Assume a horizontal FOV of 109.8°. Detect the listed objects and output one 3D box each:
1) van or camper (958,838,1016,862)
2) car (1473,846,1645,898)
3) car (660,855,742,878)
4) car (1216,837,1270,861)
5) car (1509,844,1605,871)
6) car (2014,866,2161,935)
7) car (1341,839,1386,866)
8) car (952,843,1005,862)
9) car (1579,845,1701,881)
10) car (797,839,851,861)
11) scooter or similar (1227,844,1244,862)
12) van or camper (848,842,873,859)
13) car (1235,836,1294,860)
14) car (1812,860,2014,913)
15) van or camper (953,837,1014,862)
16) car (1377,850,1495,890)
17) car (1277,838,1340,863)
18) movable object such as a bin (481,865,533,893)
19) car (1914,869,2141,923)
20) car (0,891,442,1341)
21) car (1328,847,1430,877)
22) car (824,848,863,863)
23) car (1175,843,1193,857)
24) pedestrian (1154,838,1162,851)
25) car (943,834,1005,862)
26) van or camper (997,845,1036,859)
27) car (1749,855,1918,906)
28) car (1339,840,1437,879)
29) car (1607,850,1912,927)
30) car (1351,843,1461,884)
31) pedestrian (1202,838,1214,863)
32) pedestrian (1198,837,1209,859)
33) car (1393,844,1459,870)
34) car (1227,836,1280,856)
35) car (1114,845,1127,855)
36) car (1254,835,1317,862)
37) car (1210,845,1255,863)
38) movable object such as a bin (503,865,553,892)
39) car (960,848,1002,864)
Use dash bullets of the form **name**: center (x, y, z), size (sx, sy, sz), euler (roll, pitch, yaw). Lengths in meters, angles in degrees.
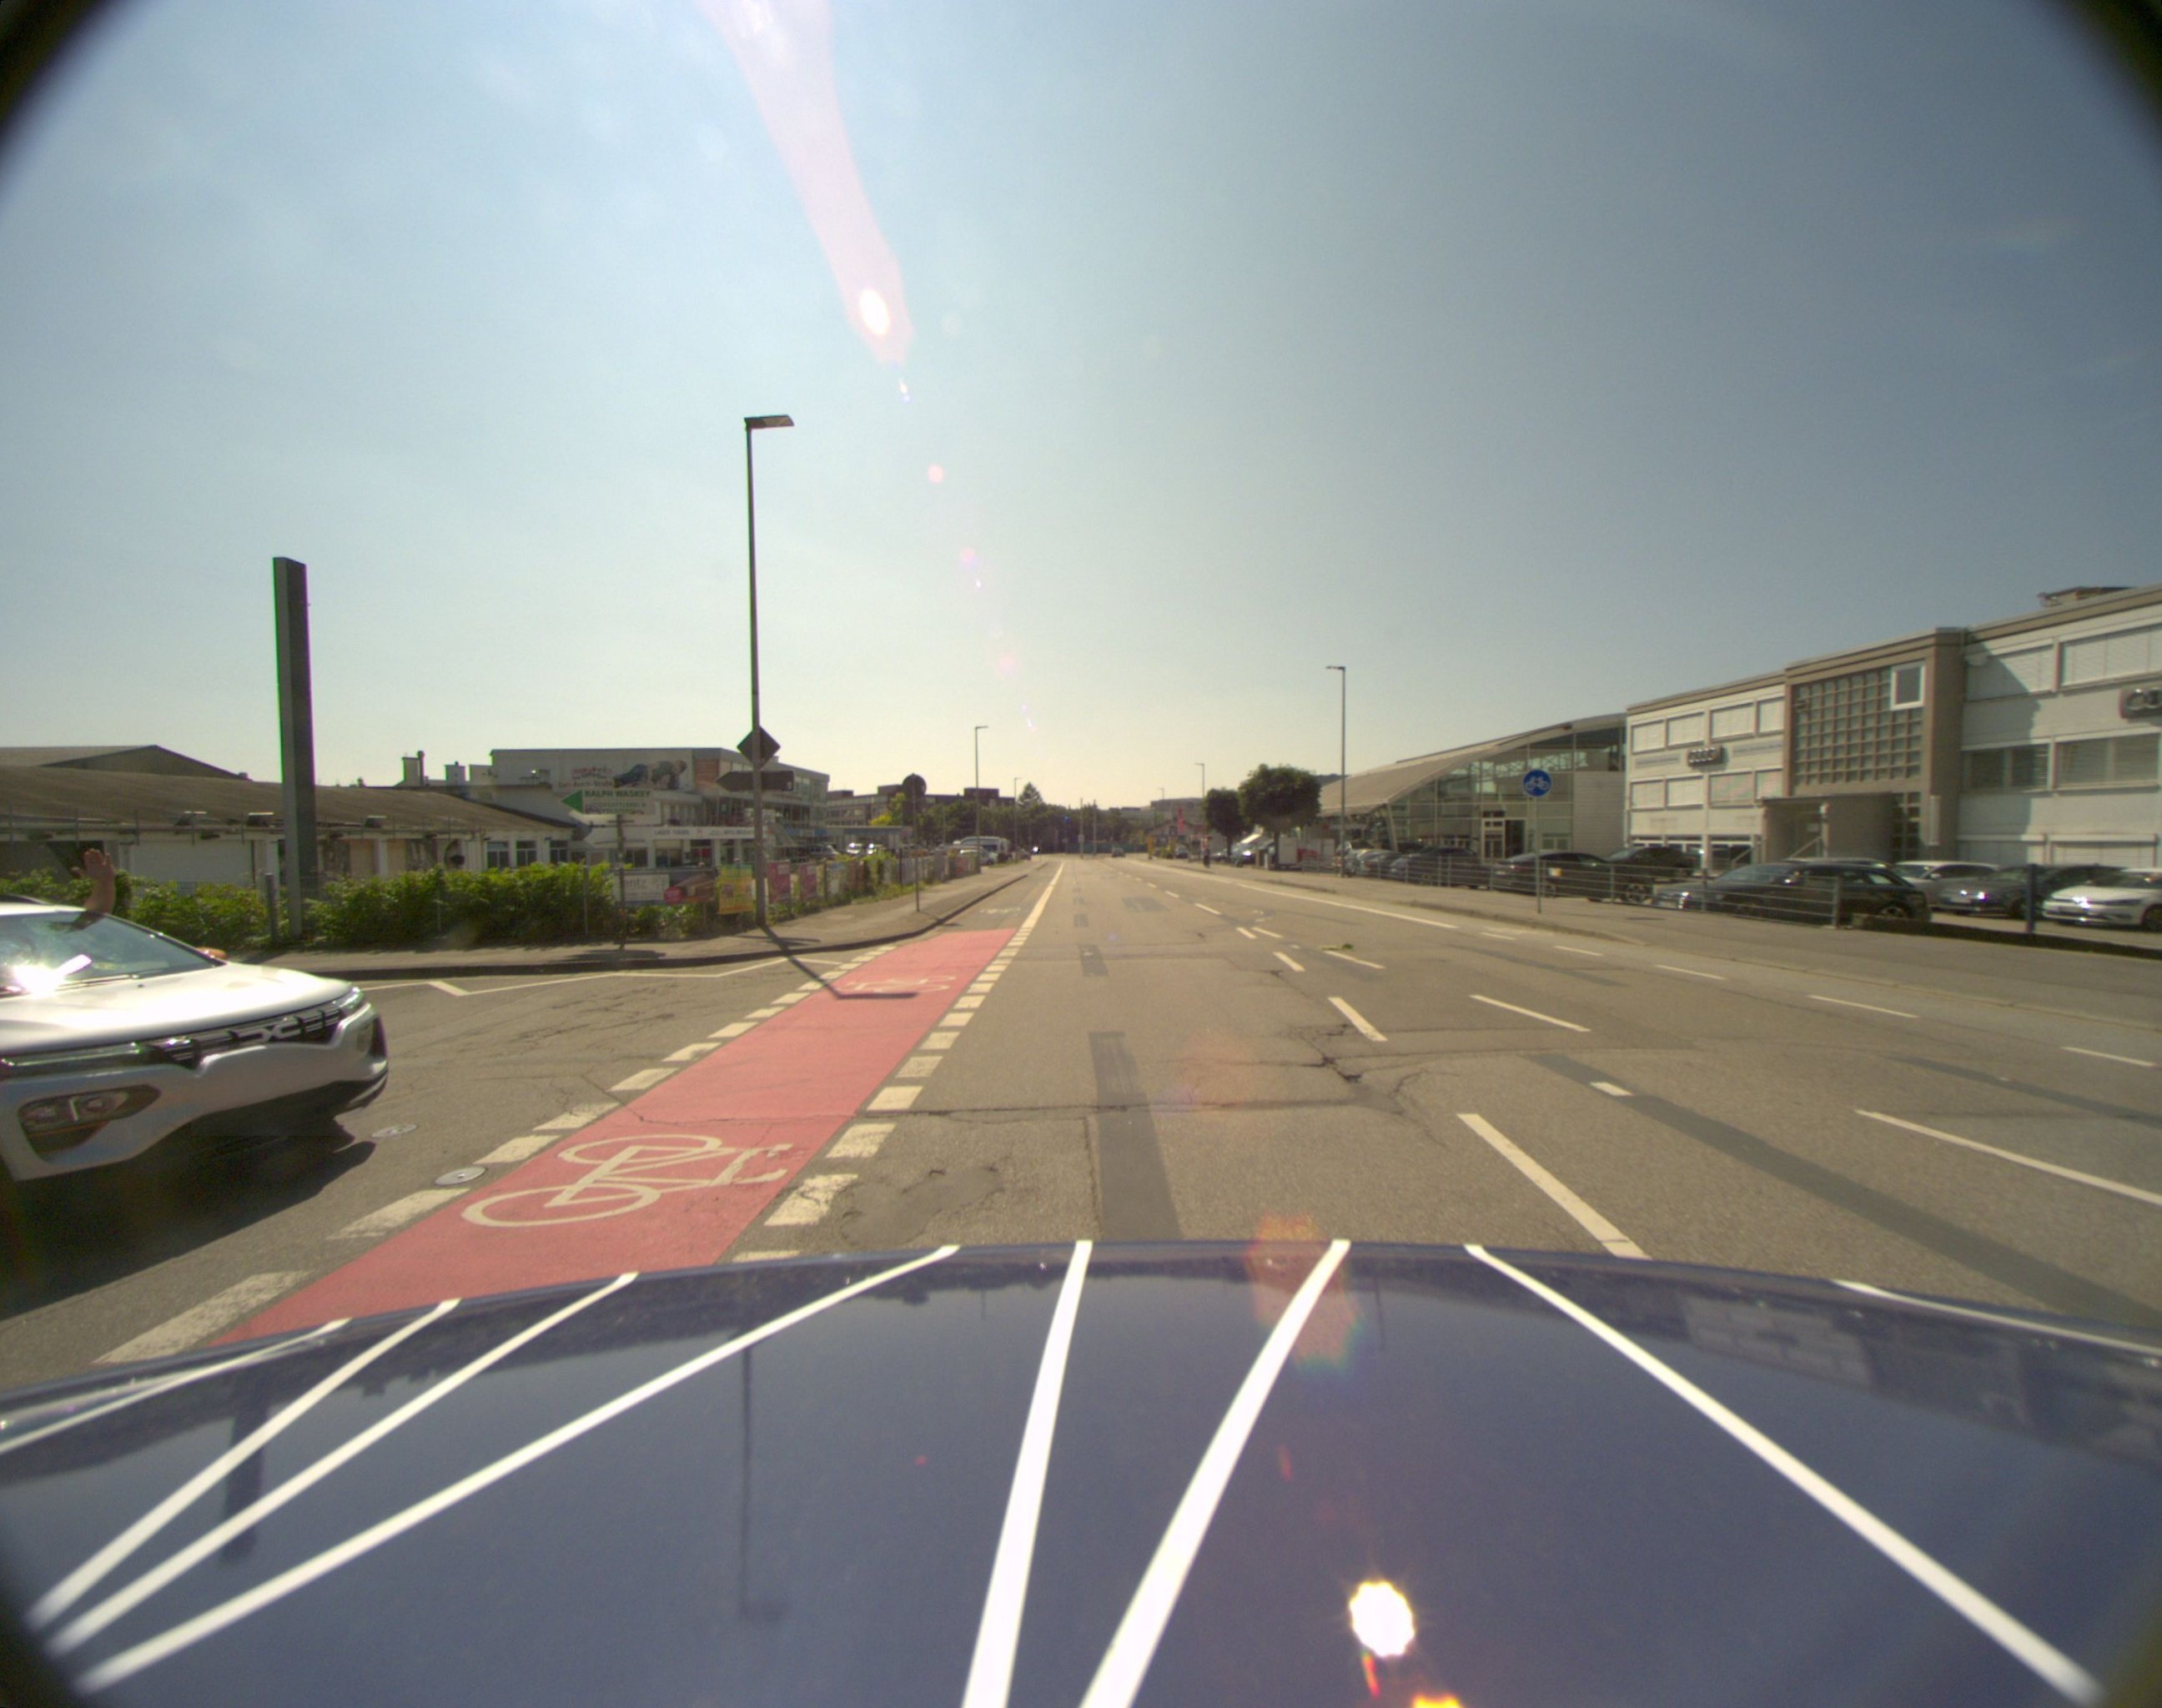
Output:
- **van or camper**: center (-10.716, -0.493, 87.078), size (6.365, 2.701, 2.712), euler (-1, 1, -1)
- **car**: center (15.145, 0.540, 24.237), size (4.309, 1.549, 1.994), euler (-1, 1, -4)
- **car**: center (-25.933, 0.825, 52.026), size (1.890, 1.283, 4.562), euler (-2, 2, 41)
- **car**: center (14.097, -0.459, 66.081), size (4.489, 1.599, 1.961), euler (-6, -1, -36)
- **car**: center (25.561, 0.169, 40.903), size (3.997, 1.351, 1.859), euler (-1, 1, -1)
- **car**: center (25.703, 1.088, 18.430), size (3.998, 1.453, 1.858), euler (-1, 1, -2)
- **car**: center (18.944, -0.123, 51.114), size (1.997, 1.674, 4.002), euler (-1, 1, 8)
- **car**: center (-10.560, -0.133, 78.538), size (5.247, 1.941, 1.999), euler (0, 1, -1)
- **car**: center (25.890, 0.406, 35.282), size (4.366, 1.544, 1.858), euler (-1, 1, -4)
- **car**: center (-28.926, -0.447, 85.526), size (5.313, 2.405, 2.324), euler (-1, 1, -5)
- **scooter or similar**: center (11.376, -0.070, 55.832), size (0.746, 1.240, 1.489), euler (-1, 1, -8)
- **van or camper**: center (-28.088, -0.465, 97.028), size (2.123, 2.002, 5.111), euler (-1, 1, -6)
- **car**: center (14.050, -0.484, 58.170), size (4.588, 1.687, 1.854), euler (-2, 1, -36)
- **car**: center (25.212, 0.963, 23.142), size (3.996, 1.395, 1.815), euler (-1, 3, 3)
- **van or camper**: center (-10.682, -0.472, 84.050), size (6.365, 2.685, 2.712), euler (-1, 1, -1)
- **car**: center (14.596, 0.625, 31.400), size (3.998, 1.482, 1.857), euler (0, 3, -4)
- **car**: center (15.494, -0.248, 51.671), size (4.006, 1.541, 1.855), euler (-2, 1, -31)
- **movable object such as a bin**: center (-32.020, 1.370, 42.419), size (1.575, 1.447, 1.754), euler (-1, 1, -5)
- **car**: center (25.786, 1.117, 20.802), size (3.998, 1.258, 1.858), euler (-1, 1, -2)
- **car**: center (-5.608, 1.080, 3.585), size (3.673, 1.476, 1.728), euler (-4, 1, 2)
- **car**: center (15.235, 0.413, 38.995), size (4.536, 1.449, 1.900), euler (-1, 1, -3)
- **car**: center (-28.572, 0.183, 91.429), size (4.117, 1.723, 1.999), euler (-1, 1, -4)
- **car**: center (13.306, -0.565, 98.353), size (1.909, 1.705, 4.000), euler (-1, 1, 1)
- **pedestrian**: center (10.059, -1.205, 98.881), size (0.996, 1.676, 0.800), euler (0, 1, 10)
- **car**: center (-11.319, -0.641, 81.069), size (6.244, 2.853, 2.320), euler (-1, 1, 0)
- **van or camper**: center (-9.164, -0.335, 108.129), size (5.145, 1.950, 1.981), euler (0, 2, -31)
- **car**: center (25.546, 0.869, 25.873), size (3.998, 1.537, 1.858), euler (-1, 1, -2)
- **car**: center (14.680, 0.248, 36.468), size (3.900, 1.437, 1.822), euler (-5, 3, -1)
- **car**: center (14.272, 0.678, 16.190), size (4.752, 1.472, 2.047), euler (-1, 1, -2)
- **car**: center (14.377, 0.400, 33.727), size (3.998, 1.435, 1.858), euler (5, 1, -3)
- **pedestrian**: center (9.570, -0.294, 57.150), size (0.734, 1.857, 1.047), euler (0, 1, 2)
- **pedestrian**: center (10.065, -0.482, 62.314), size (0.725, 1.838, 0.911), euler (-1, 1, -1)
- **car**: center (21.279, 0.165, 47.019), size (3.470, 1.499, 1.885), euler (0, 4, 15)
- **car**: center (14.119, -0.655, 61.989), size (4.210, 1.486, 1.869), euler (-4, 2, -36)
- **car**: center (6.100, -0.664, 116.917), size (1.745, 1.396, 4.326), euler (-1, 1, 6)
- **car**: center (14.836, -0.396, 55.056), size (4.488, 1.698, 1.906), euler (-3, 2, -36)
- **car**: center (13.793, -0.027, 69.089), size (4.168, 1.451, 1.902), euler (-3, 2, -44)
- **movable object such as a bin**: center (-32.158, 1.403, 44.248), size (1.575, 1.447, 1.824), euler (-1, 1, -5)
- **car**: center (-9.905, 0.200, 75.697), size (3.932, 1.584, 1.798), euler (-1, 1, -1)
